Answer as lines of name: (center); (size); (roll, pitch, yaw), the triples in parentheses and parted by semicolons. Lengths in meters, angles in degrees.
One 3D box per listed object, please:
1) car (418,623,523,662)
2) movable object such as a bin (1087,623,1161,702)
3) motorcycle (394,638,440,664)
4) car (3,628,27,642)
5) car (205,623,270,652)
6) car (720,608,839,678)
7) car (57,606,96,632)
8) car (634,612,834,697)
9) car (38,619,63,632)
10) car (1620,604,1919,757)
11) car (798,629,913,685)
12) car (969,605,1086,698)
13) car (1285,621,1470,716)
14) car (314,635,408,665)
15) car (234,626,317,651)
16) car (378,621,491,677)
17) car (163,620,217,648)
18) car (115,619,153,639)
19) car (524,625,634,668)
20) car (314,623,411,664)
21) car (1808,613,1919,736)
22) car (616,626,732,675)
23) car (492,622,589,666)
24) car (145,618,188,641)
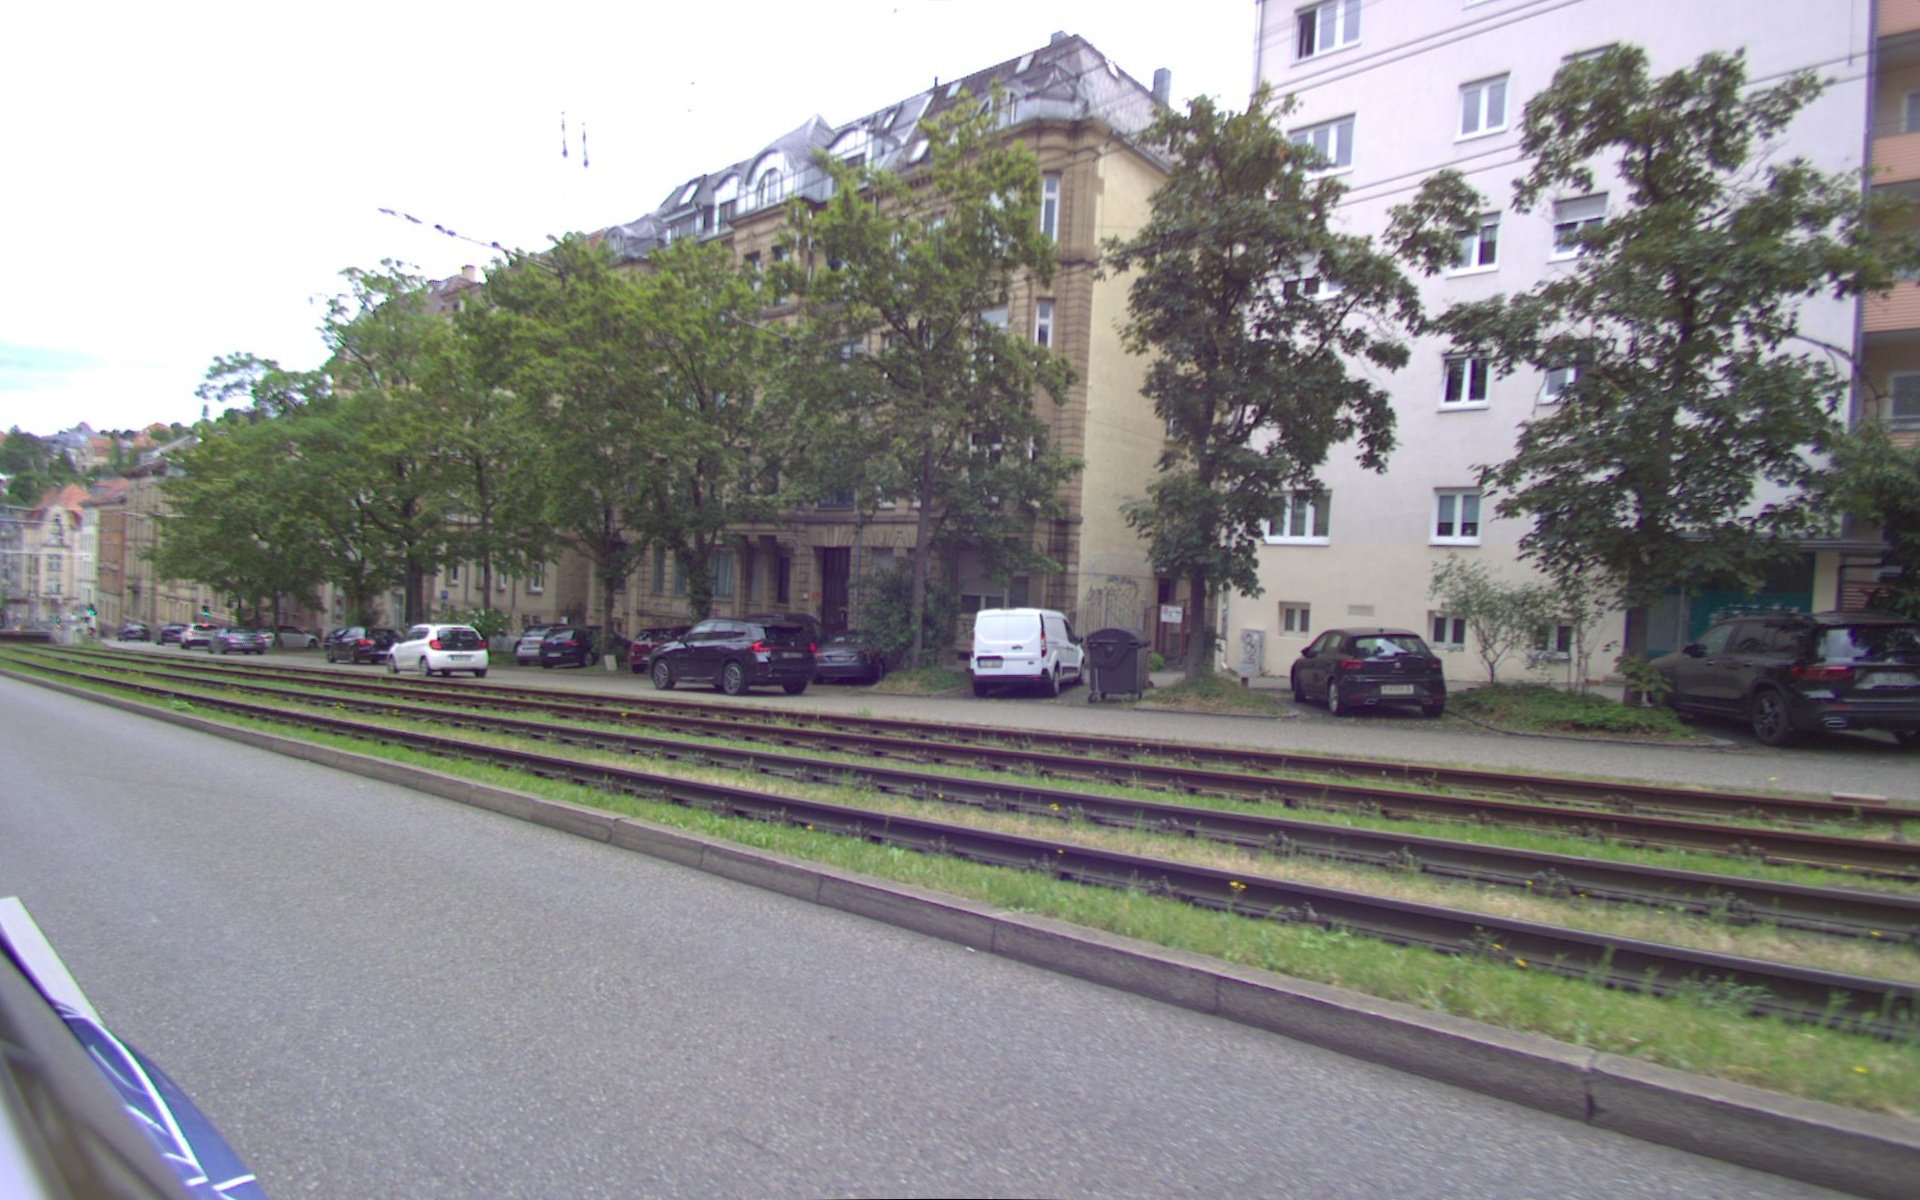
car: (-19.889, 1.723, 41.319); (1.766, 1.481, 4.142); (0, -2, 9)
movable object such as a bin: (3.143, 1.163, 19.324); (1.090, 1.411, 1.267); (-1, -1, 26)
motorcycle: (-23.829, 2.223, 44.454); (0.618, 1.066, 2.201); (0, 0, 7)
car: (-114.301, 4.217, 122.399); (4.471, 1.663, 1.859); (-2, -4, 44)
car: (-37.217, 1.958, 52.086); (4.596, 1.421, 1.706); (-2, -4, 42)
car: (-4.901, 1.173, 28.079); (1.852, 1.781, 4.176); (-1, -2, 11)
car: (-95.872, 2.128, 109.779); (6.517, 2.720, 2.366); (-2, -4, 42)
car: (-5.030, 1.174, 22.206); (4.604, 1.663, 1.897); (-2, -4, 41)
car: (-106.774, 3.050, 118.808); (4.749, 1.439, 1.729); (-2, -4, 44)
car: (11.235, 0.938, 13.810); (1.914, 1.694, 4.596); (-1, 0, 8)
car: (-2.613, 1.427, 26.325); (1.852, 1.350, 4.176); (-1, -2, 11)
car: (1.592, 1.090, 22.396); (1.854, 1.850, 4.172); (-1, -2, 14)
car: (7.167, 1.114, 17.914); (1.914, 1.355, 4.596); (-1, 0, 8)
car: (-29.793, 2.452, 50.478); (1.694, 1.375, 4.168); (-1, -2, 11)
car: (-40.078, 2.246, 59.332); (1.766, 1.433, 3.987); (-1, -2, 10)
car: (-14.528, 1.353, 27.931); (3.410, 1.446, 1.571); (-2, -4, 41)
car: (-46.974, 2.058, 61.705); (4.344, 1.629, 1.761); (-2, -4, 42)
car: (-72.303, 2.581, 88.551); (4.469, 1.663, 1.860); (-2, -4, 42)
car: (-13.493, 1.635, 36.129); (1.851, 1.446, 4.179); (0, -2, 9)
car: (-22.987, 1.670, 38.874); (4.491, 1.446, 1.846); (-1, -5, 41)
car: (13.506, 0.989, 12.911); (1.914, 1.560, 4.596); (-1, 0, 8)
car: (-9.013, 1.558, 32.270); (1.852, 1.446, 4.176); (-1, -2, 11)
car: (-16.076, 1.681, 39.026); (1.847, 1.585, 4.187); (0, -2, 3)
car: (-58.476, 2.191, 74.562); (4.241, 1.669, 1.761); (-2, -4, 42)
